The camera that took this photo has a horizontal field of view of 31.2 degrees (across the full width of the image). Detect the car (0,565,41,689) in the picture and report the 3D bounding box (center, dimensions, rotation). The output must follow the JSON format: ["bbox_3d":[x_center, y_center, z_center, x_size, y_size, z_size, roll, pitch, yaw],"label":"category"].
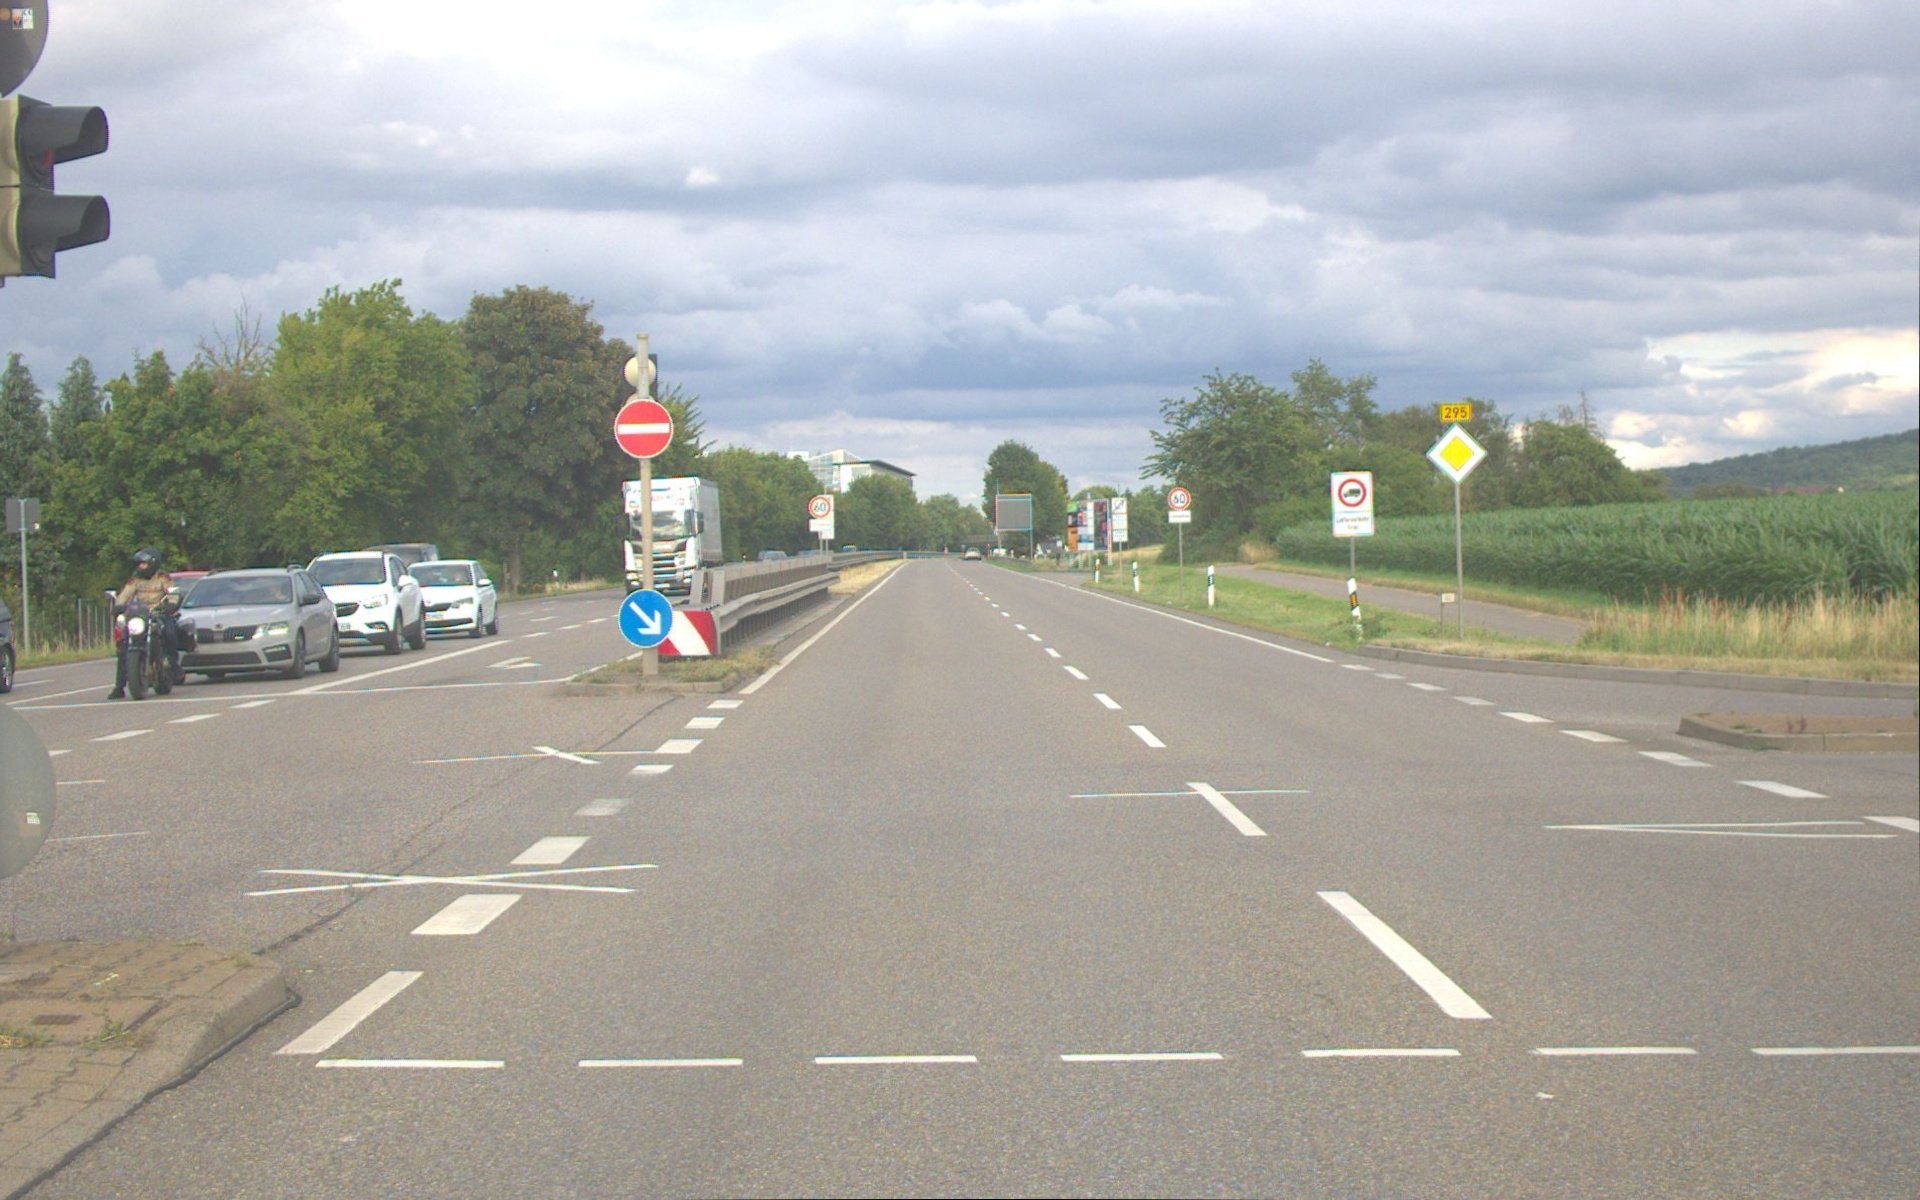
[{"bbox_3d":[-12.987,0.381,42.569,1.907,1.530,4.939,-2,1,-1],"label":"car"}]

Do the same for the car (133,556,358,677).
[{"bbox_3d":[-9.348,0.173,45.394,1.907,1.423,5.152,-2,1,-1],"label":"car"}]

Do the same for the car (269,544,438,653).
[{"bbox_3d":[-9.589,-0.057,54.654,1.907,1.604,4.405,-2,1,-1],"label":"car"}]

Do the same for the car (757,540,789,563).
[{"bbox_3d":[-11.947,-3.087,219.976,1.789,1.381,4.161,-2,1,-1],"label":"car"}]

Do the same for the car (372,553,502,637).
[{"bbox_3d":[-9.676,-0.122,63.924,1.789,1.439,4.161,-2,1,-1],"label":"car"}]

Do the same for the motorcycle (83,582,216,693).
[{"bbox_3d":[-9.370,0.414,39.843,0.916,1.199,2.479,-2,1,0],"label":"motorcycle"}]

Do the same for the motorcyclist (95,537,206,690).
[{"bbox_3d":[-9.371,0.149,39.839,0.916,1.703,1.276,-2,0,0],"label":"motorcyclist"}]

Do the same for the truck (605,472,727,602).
[{"bbox_3d":[-9.963,-2.131,117.108,3.474,4.136,6.050,-3,1,0],"label":"truck"}]
